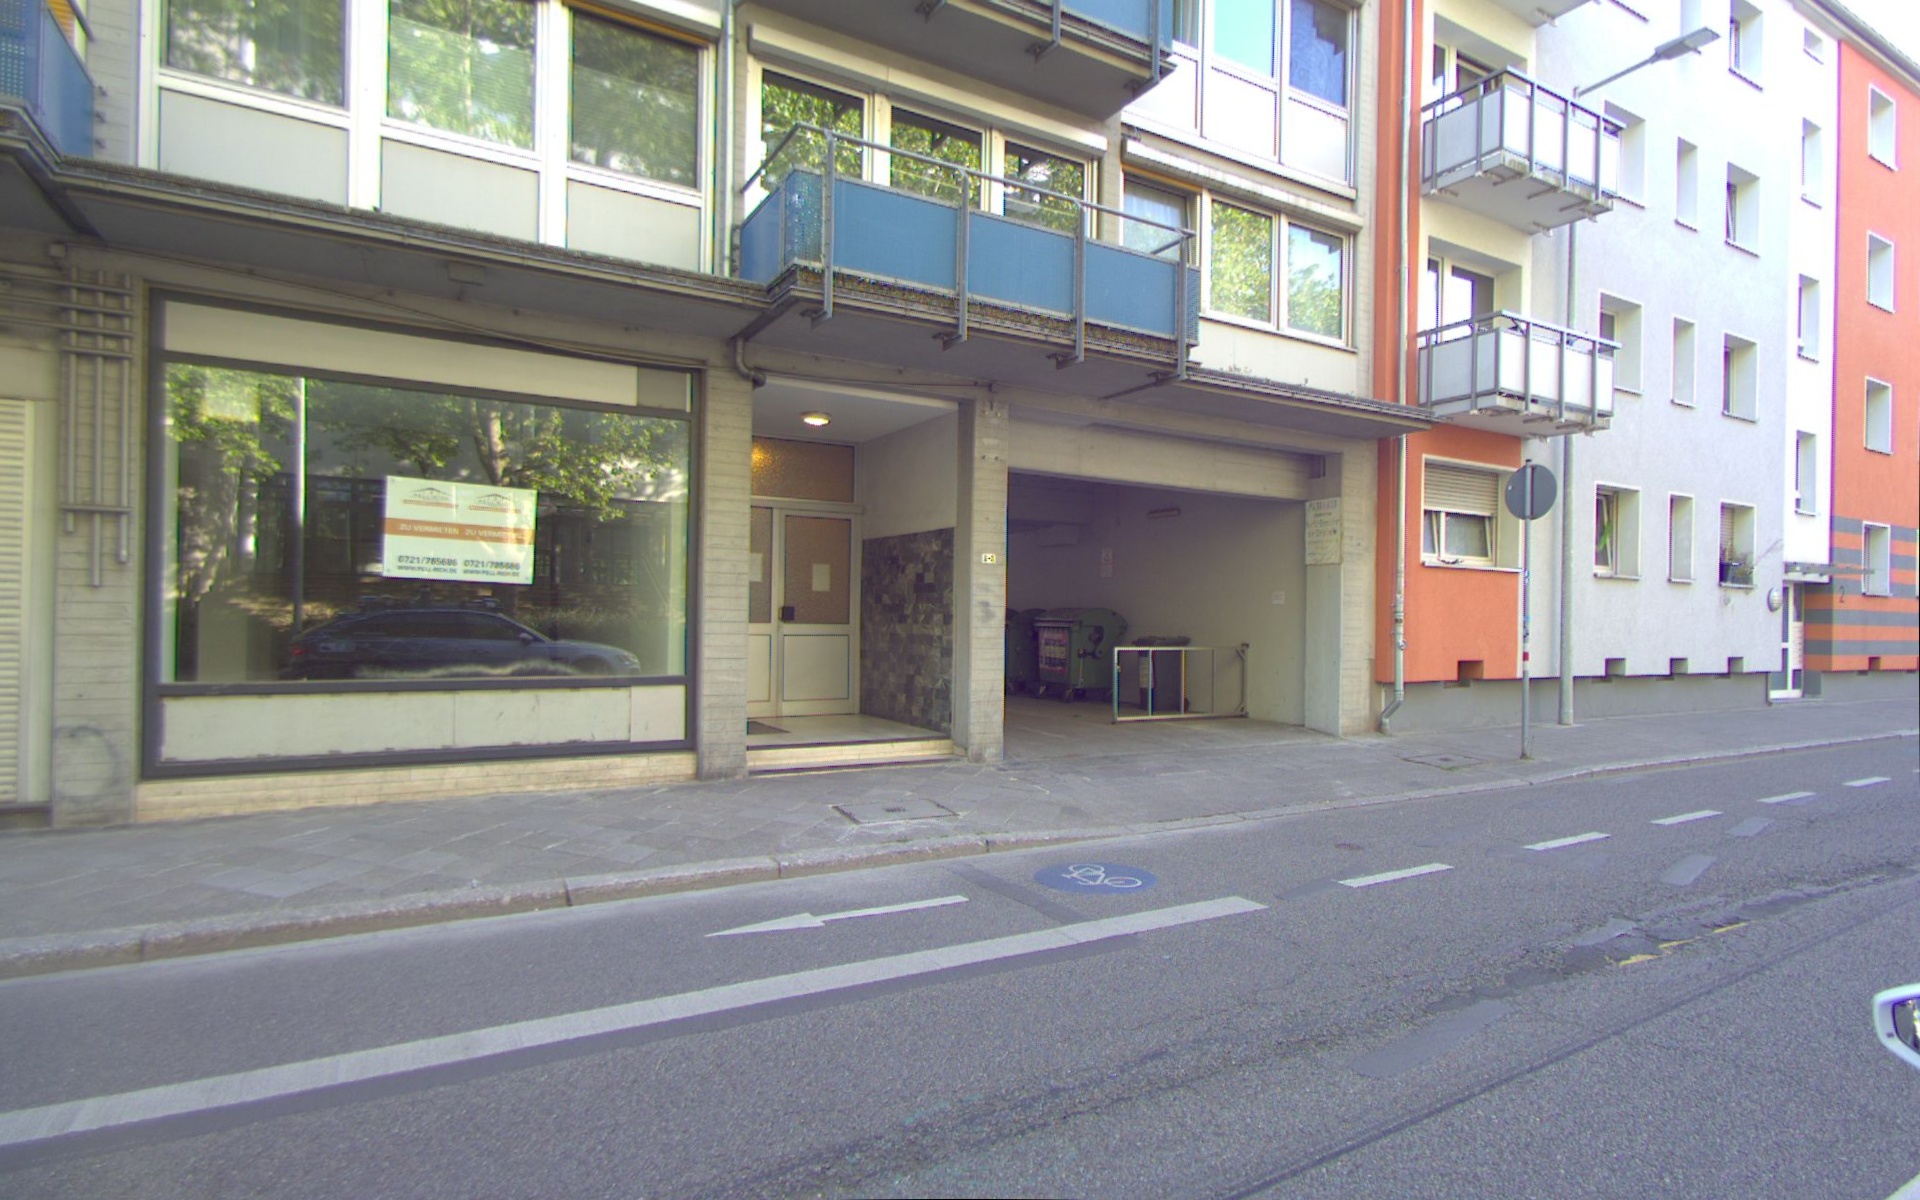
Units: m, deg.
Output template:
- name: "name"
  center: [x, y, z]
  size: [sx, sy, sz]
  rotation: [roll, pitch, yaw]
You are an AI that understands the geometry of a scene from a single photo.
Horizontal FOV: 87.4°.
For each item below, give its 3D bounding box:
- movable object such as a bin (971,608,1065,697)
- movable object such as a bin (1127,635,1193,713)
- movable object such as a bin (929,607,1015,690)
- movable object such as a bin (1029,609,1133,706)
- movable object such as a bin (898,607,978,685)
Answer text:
- name: "movable object such as a bin"
  center: [0.977, 0.864, 17.167]
  size: [1.116, 1.444, 1.201]
  rotation: [1, 0, -30]
- name: "movable object such as a bin"
  center: [2.886, 1.052, 14.498]
  size: [0.667, 1.079, 0.639]
  rotation: [1, 0, -30]
- name: "movable object such as a bin"
  center: [0.206, 0.871, 18.466]
  size: [1.116, 1.444, 1.201]
  rotation: [1, 0, -30]
- name: "movable object such as a bin"
  center: [1.889, 0.870, 15.808]
  size: [1.116, 1.444, 1.201]
  rotation: [1, 0, -30]
- name: "movable object such as a bin"
  center: [-0.441, 0.877, 19.614]
  size: [1.116, 1.444, 1.201]
  rotation: [1, 0, -30]
